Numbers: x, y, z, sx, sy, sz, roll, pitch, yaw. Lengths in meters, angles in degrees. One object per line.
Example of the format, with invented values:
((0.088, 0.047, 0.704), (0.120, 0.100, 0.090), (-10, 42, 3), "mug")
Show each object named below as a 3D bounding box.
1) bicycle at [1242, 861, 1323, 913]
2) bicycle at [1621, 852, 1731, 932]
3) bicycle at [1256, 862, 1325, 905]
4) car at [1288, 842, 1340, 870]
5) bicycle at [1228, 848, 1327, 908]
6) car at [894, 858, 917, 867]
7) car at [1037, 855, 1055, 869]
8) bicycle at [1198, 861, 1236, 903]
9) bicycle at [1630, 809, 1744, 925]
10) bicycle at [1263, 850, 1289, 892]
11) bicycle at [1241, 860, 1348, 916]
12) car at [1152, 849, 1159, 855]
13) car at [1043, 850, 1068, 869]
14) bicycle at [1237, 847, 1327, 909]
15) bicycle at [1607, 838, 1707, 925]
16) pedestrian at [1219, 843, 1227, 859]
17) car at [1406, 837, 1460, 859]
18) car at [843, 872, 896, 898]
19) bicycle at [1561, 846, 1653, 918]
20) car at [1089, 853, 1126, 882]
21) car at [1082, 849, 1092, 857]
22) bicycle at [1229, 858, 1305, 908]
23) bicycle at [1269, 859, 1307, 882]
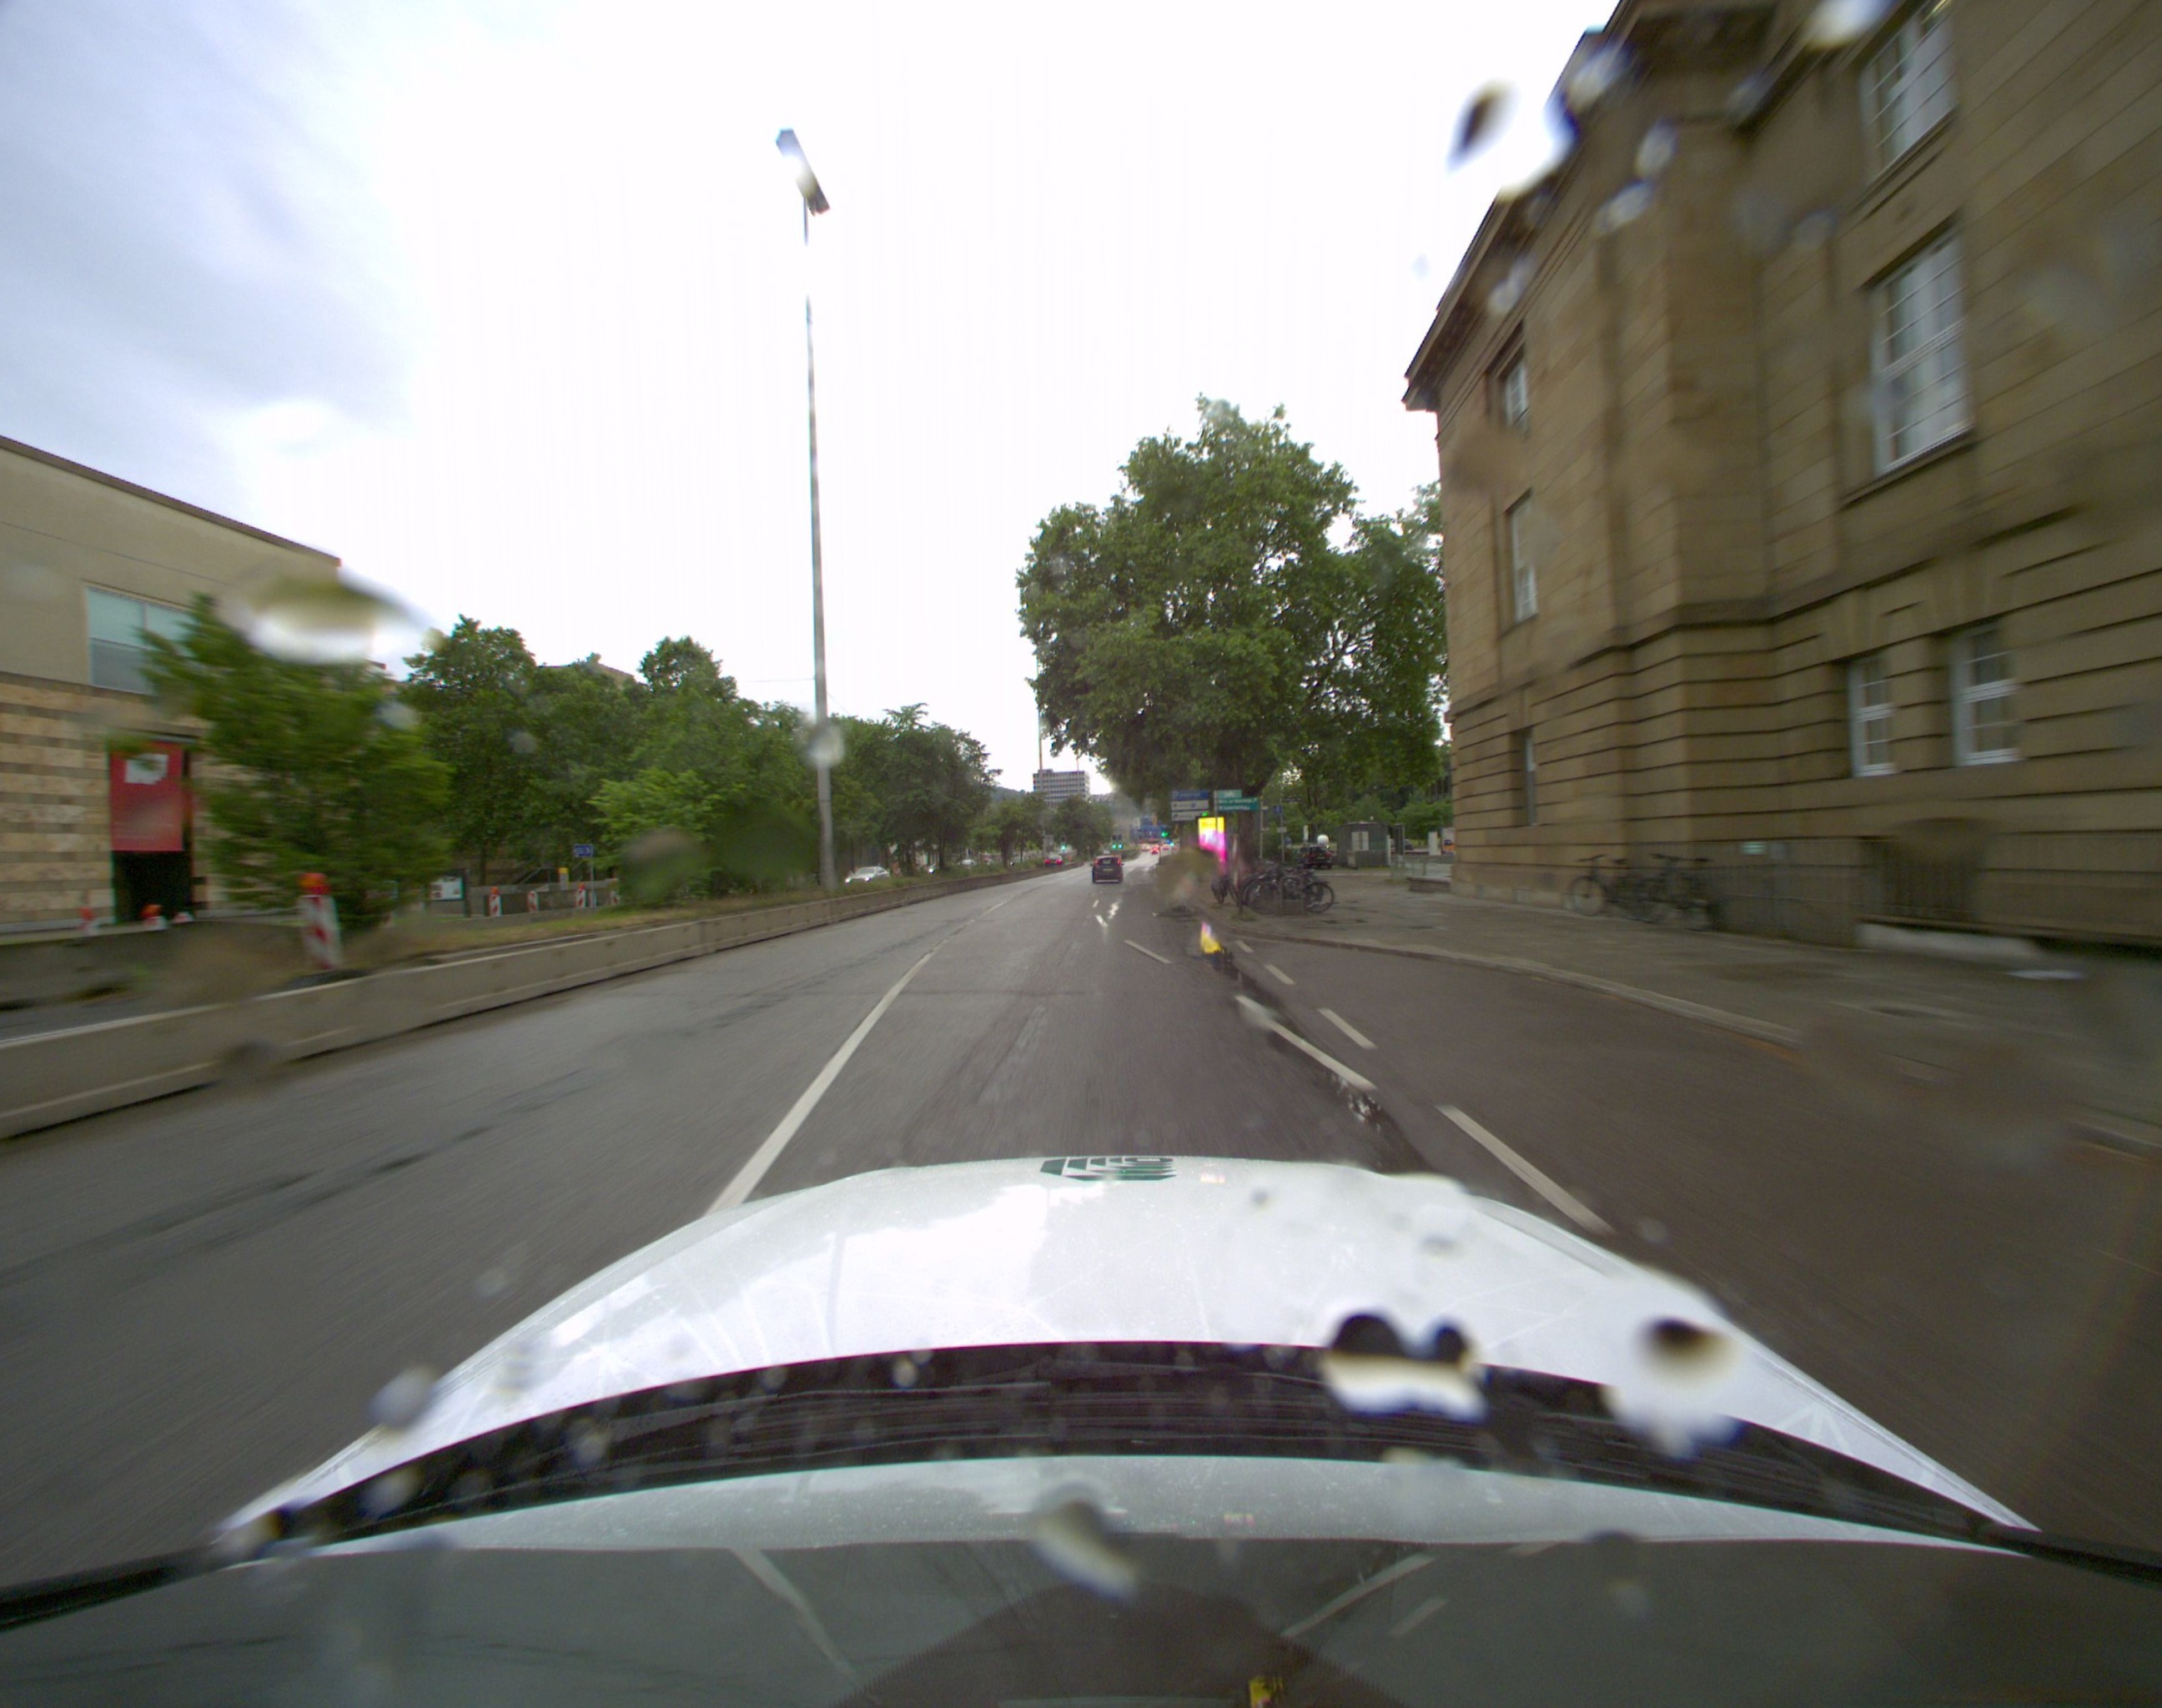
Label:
((4.513, 0.736, 18.304), (1.671, 1.090, 0.651), (-2, -1, 5), "bicycle")
((8.626, 0.526, 11.889), (0.350, 1.080, 1.790), (-1, -1, 3), "bicycle")
((5.213, 0.730, 20.316), (1.582, 0.994, 0.525), (-2, -1, 5), "bicycle")
((14.668, 0.074, 51.588), (1.985, 1.609, 5.240), (-2, 1, 3), "car")
((4.609, 0.564, 19.205), (2.180, 1.336, 0.651), (-2, -1, 5), "bicycle")
((-33.563, 1.564, 155.838), (3.971, 1.596, 2.001), (-2, 0, 2), "car")
((-3.896, 0.934, 90.812), (1.749, 1.451, 3.998), (-2, 0, -1), "car")
((3.465, 0.692, 20.625), (0.663, 0.967, 1.645), (-2, -1, 19), "bicycle")
((8.495, 0.170, 11.491), (0.452, 1.515, 1.600), (-1, 0, 2), "bicycle")
((5.964, 0.501, 24.974), (0.601, 1.197, 1.910), (-4, -1, 11), "bicycle")
((4.394, 0.696, 16.848), (1.978, 1.060, 0.759), (-2, -1, 0), "bicycle")
((21.419, -0.578, 233.459), (1.730, 1.771, 4.007), (-4, -1, 6), "car")
((-2.623, 0.566, 85.492), (1.983, 1.781, 4.007), (-3, 0, 6), "car")
((4.595, 0.546, 18.731), (1.897, 1.332, 0.651), (-2, -1, 5), "bicycle")
((8.869, 0.399, 12.619), (0.452, 1.251, 1.600), (-1, 0, 2), "bicycle")
((15.527, -0.300, 88.805), (0.702, 1.718, 0.693), (-4, 0, 5), "pedestrian")
((31.075, -0.527, 71.981), (3.966, 1.600, 1.660), (-4, -1, 6), "car")
((-14.743, 2.149, 57.137), (1.984, 1.625, 4.815), (-4, -1, 5), "car")
((8.675, 0.450, 13.509), (0.350, 1.080, 1.790), (-4, -1, 3), "bicycle")
((1.423, 0.744, 44.148), (1.838, 1.416, 3.839), (-4, -1, 1), "car")
((1.185, -0.183, 162.156), (1.987, 1.632, 4.000), (-2, 0, 1), "car")
((4.462, 0.696, 19.617), (1.671, 1.122, 0.602), (-2, 0, 5), "bicycle")
((9.337, 0.735, 36.762), (1.631, 1.020, 0.576), (0, -1, 8), "bicycle")
